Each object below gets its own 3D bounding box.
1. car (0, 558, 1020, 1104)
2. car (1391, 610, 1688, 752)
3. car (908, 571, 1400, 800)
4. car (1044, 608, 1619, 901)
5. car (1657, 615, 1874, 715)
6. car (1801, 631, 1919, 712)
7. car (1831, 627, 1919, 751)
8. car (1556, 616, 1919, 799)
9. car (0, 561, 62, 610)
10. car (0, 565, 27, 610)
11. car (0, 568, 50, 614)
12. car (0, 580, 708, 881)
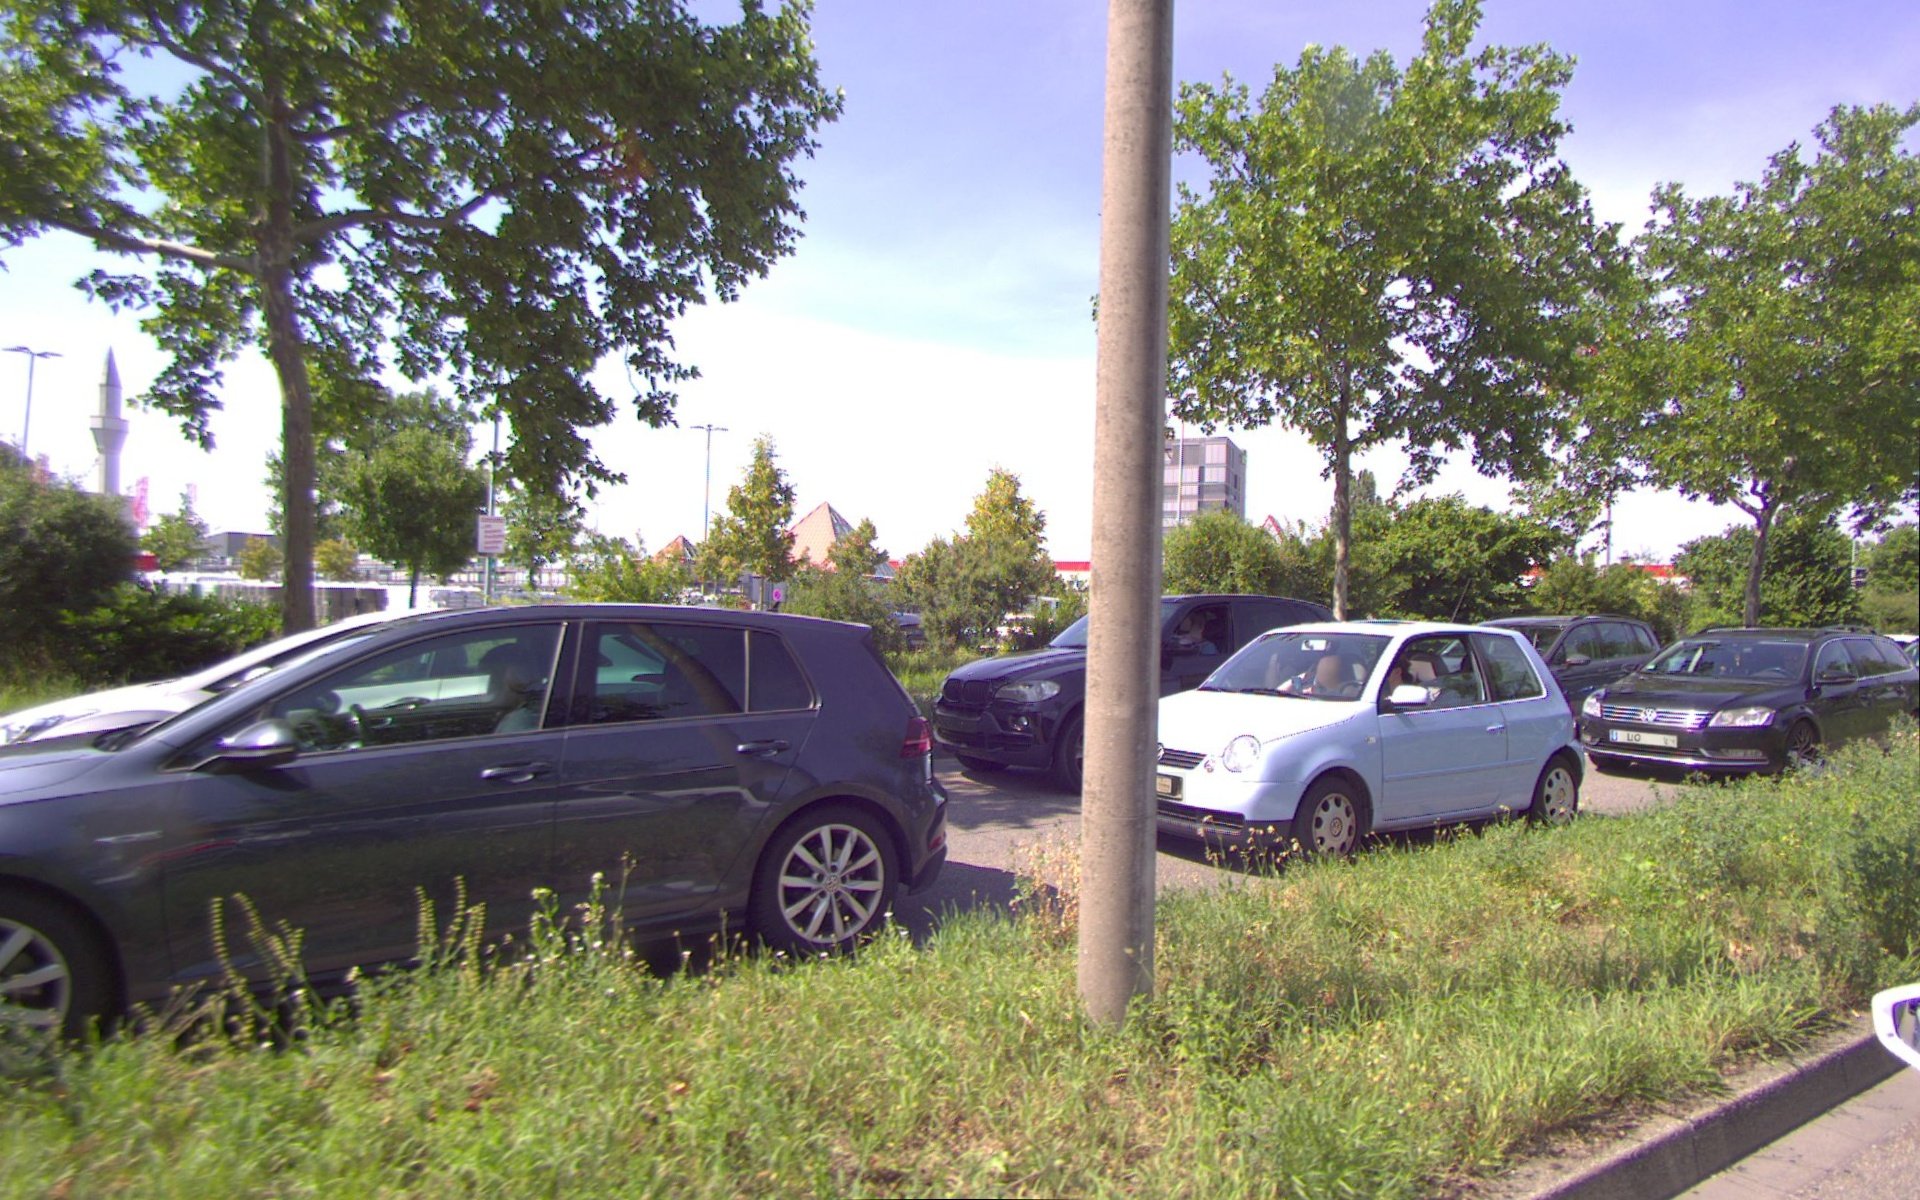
[{"bbox_3d":[-1.937,0.680,4.149,4.169,1.493,1.681,1,-2,-31],"label":"car"},{"bbox_3d":[7.882,1.002,13.572,4.129,1.668,1.681,1,-1,-31],"label":"car"},{"bbox_3d":[2.000,0.744,9.743,4.716,1.759,1.812,2,-1,-32],"label":"car"},{"bbox_3d":[2.590,0.835,6.817,3.770,1.491,1.681,1,-1,-31],"label":"car"},{"bbox_3d":[13.948,1.055,17.359,3.893,1.550,1.681,1,-1,-31],"label":"car"},{"bbox_3d":[19.186,1.389,20.532,4.377,1.470,1.724,1,-1,-31],"label":"car"},{"bbox_3d":[13.593,1.141,13.456,4.164,1.509,1.775,1,-1,-32],"label":"car"},{"bbox_3d":[8.444,0.968,10.501,4.771,1.550,1.749,1,-1,-31],"label":"car"},{"bbox_3d":[-52.308,-0.792,53.396,2.344,2.563,6.430,1,0,27],"label":"car"},{"bbox_3d":[-57.724,-0.782,57.102,2.344,2.563,6.430,1,0,27],"label":"car"},{"bbox_3d":[-55.004,-0.562,55.820,2.344,2.563,6.118,1,0,27],"label":"car"},{"bbox_3d":[-3.943,0.729,6.796,4.038,1.550,1.680,1,-2,-32],"label":"car"}]
